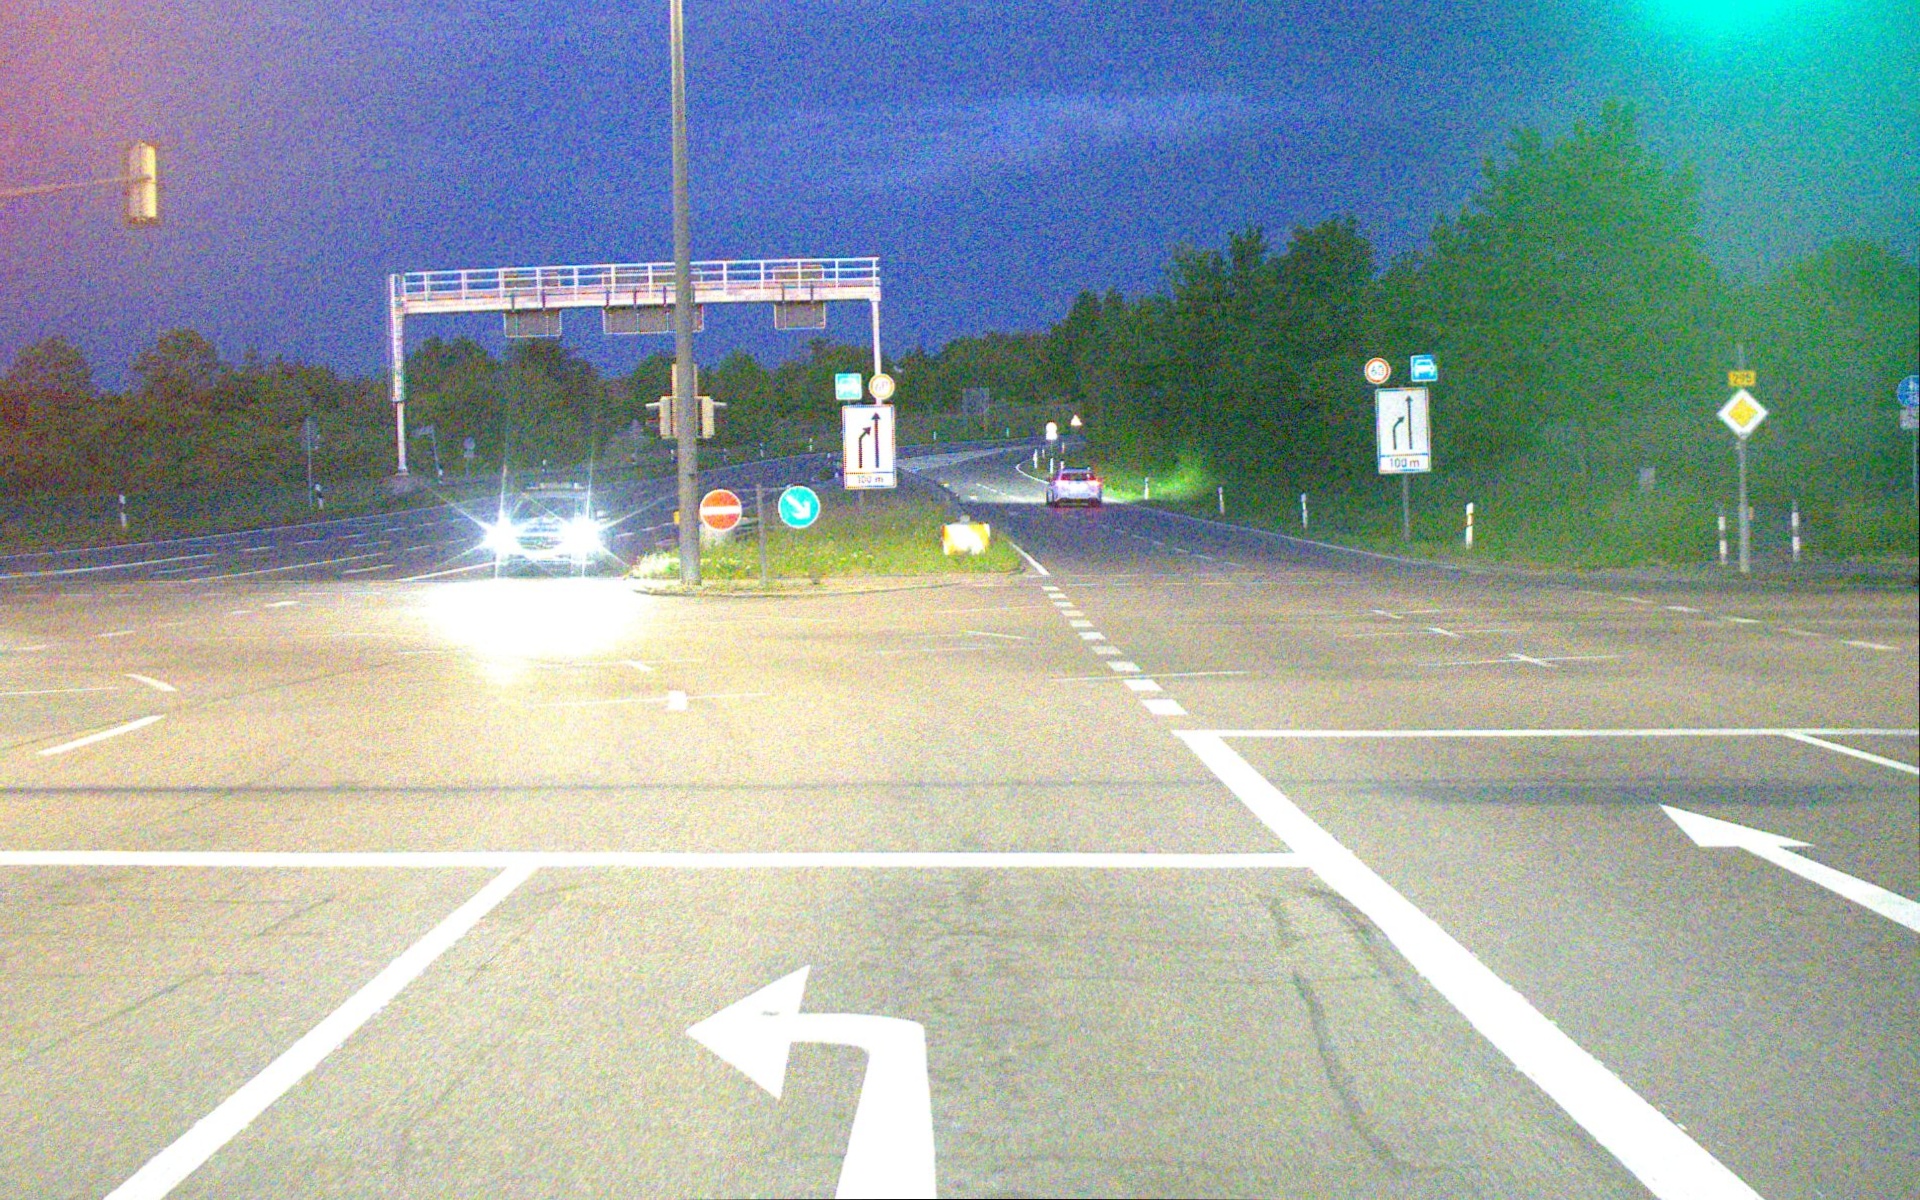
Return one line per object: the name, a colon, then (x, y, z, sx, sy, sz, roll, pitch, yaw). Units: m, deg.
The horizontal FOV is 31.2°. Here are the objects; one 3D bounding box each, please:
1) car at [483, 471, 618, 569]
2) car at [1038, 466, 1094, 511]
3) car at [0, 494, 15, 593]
car: (-7.267, -1.457, 61.329, 1.993, 1.692, 4.001, 0, 2, -1)
car: (3.937, -4.108, 127.103, 2.008, 1.605, 3.845, -1, 1, 2)
car: (-14.757, -0.764, 47.928, 1.993, 1.420, 4.533, 0, 2, -1)
